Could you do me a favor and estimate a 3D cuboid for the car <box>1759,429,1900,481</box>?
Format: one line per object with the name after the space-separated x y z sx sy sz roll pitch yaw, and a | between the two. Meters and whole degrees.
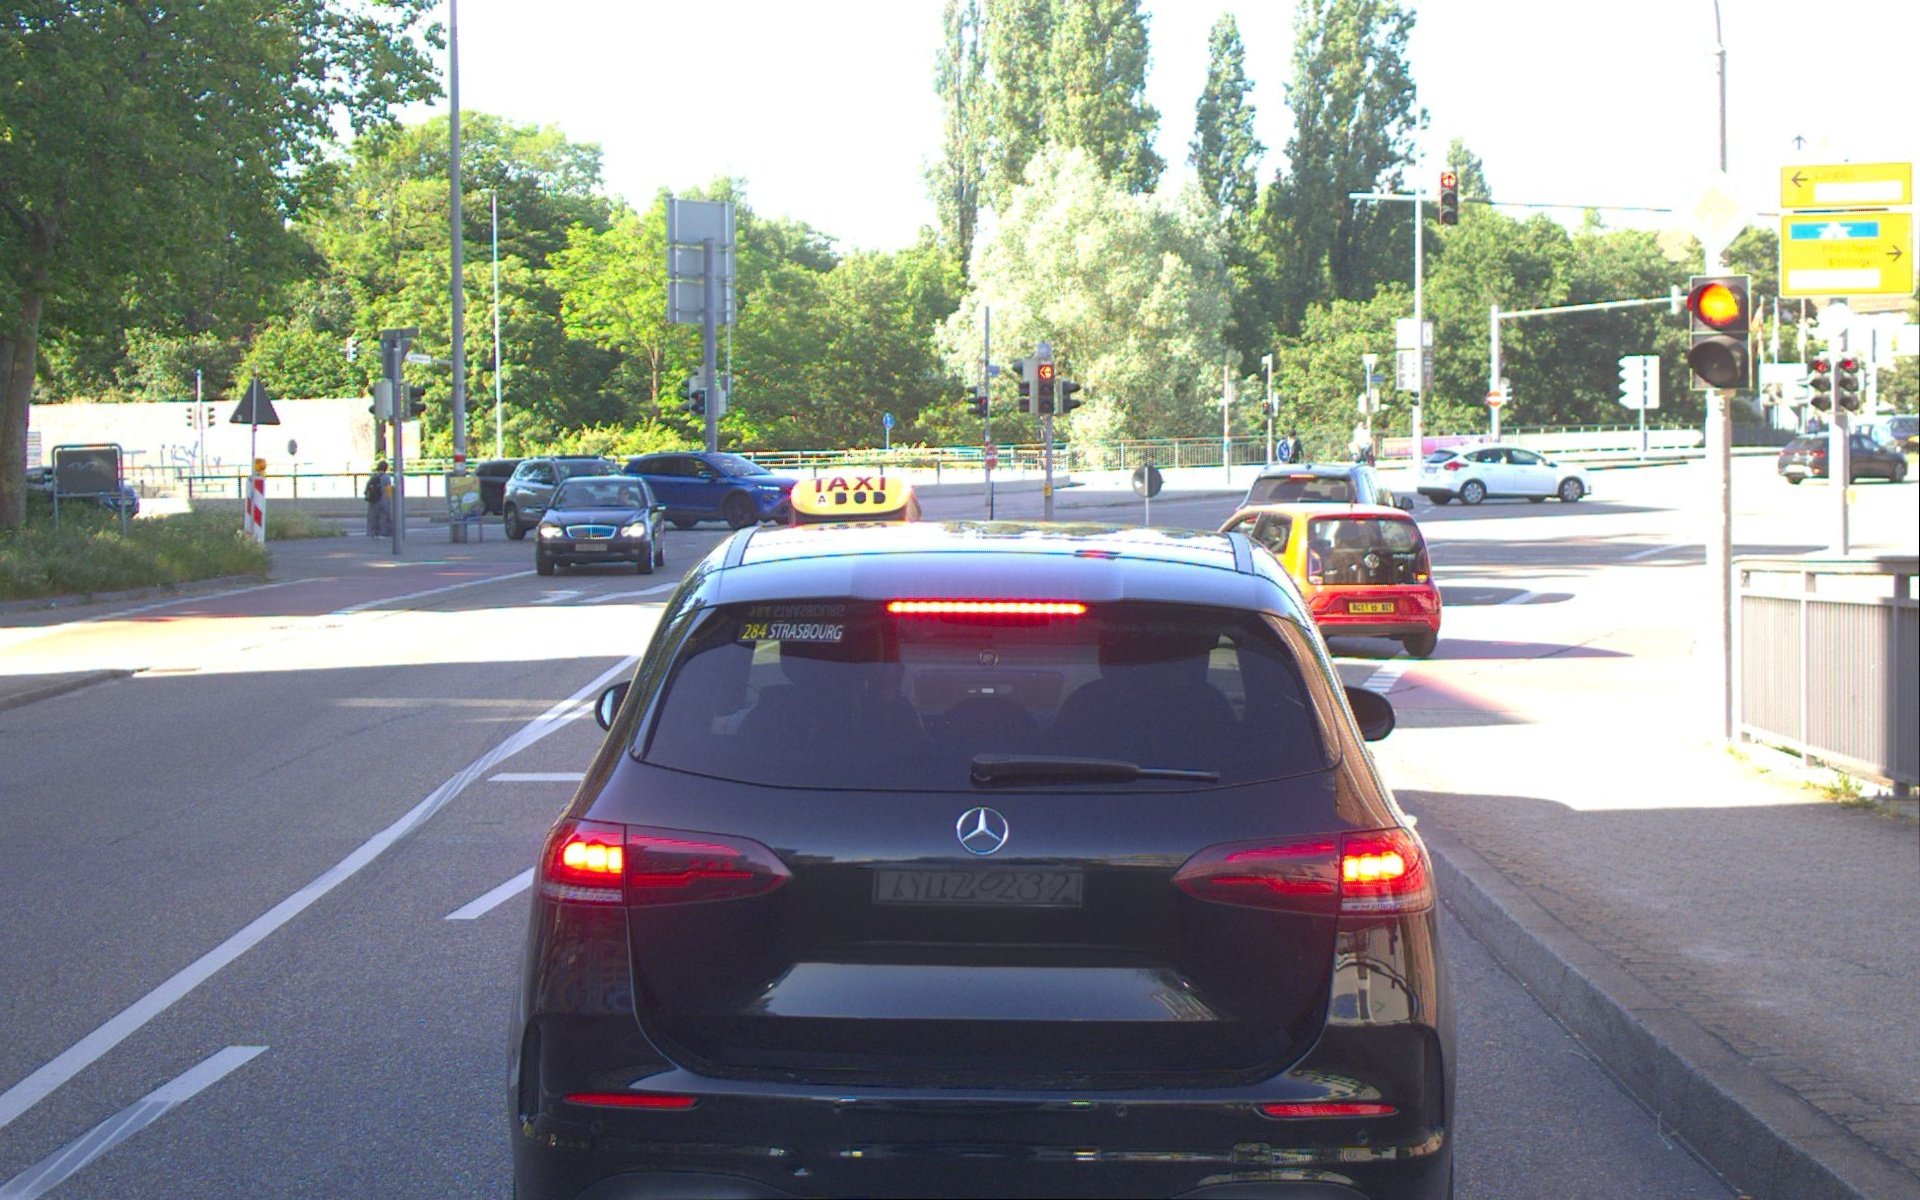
24.268 -4.054 95.867 1.885 1.290 4.584 2 5 42 | car

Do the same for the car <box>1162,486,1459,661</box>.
3.456 -0.315 34.482 1.721 1.516 3.488 -2 4 -17 | car

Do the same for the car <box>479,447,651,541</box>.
-7.650 -2.066 66.280 1.804 1.617 4.001 -1 4 -31 | car

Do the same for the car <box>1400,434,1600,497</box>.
12.972 -3.239 82.627 4.299 1.360 2.001 -2 4 -17 | car

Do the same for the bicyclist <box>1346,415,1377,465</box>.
12.523 -4.988 107.257 0.805 1.545 0.527 -4 3 -44 | bicyclist

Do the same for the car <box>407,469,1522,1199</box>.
-0.019 0.539 7.844 1.878 1.608 4.000 1 2 -1 | car

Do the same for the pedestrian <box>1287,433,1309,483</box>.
10.656 -4.481 108.374 0.451 1.580 0.500 1 3 40 | pedestrian

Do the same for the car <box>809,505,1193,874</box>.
0.228 0.344 16.730 1.640 1.524 3.474 -1 2 2 | car

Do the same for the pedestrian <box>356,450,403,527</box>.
-11.473 -2.205 67.992 0.705 1.520 0.743 1 2 10 | pedestrian

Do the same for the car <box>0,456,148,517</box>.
-23.054 -2.926 89.139 3.995 1.492 1.741 0 1 36 | car

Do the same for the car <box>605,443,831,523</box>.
-5.050 -2.456 71.638 4.397 1.586 1.919 1 4 32 | car

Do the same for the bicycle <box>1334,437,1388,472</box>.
12.524 -4.540 107.286 1.985 1.046 0.527 -4 3 -44 | bicycle

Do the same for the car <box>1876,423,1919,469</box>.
33.563 -5.379 119.821 1.882 1.573 3.992 1 3 36 | car

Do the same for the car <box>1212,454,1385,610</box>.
4.326 -0.927 44.511 1.721 1.805 4.298 3 3 0 | car

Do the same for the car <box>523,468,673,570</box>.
-5.465 -1.261 52.345 1.741 1.402 4.201 -1 3 1 | car
